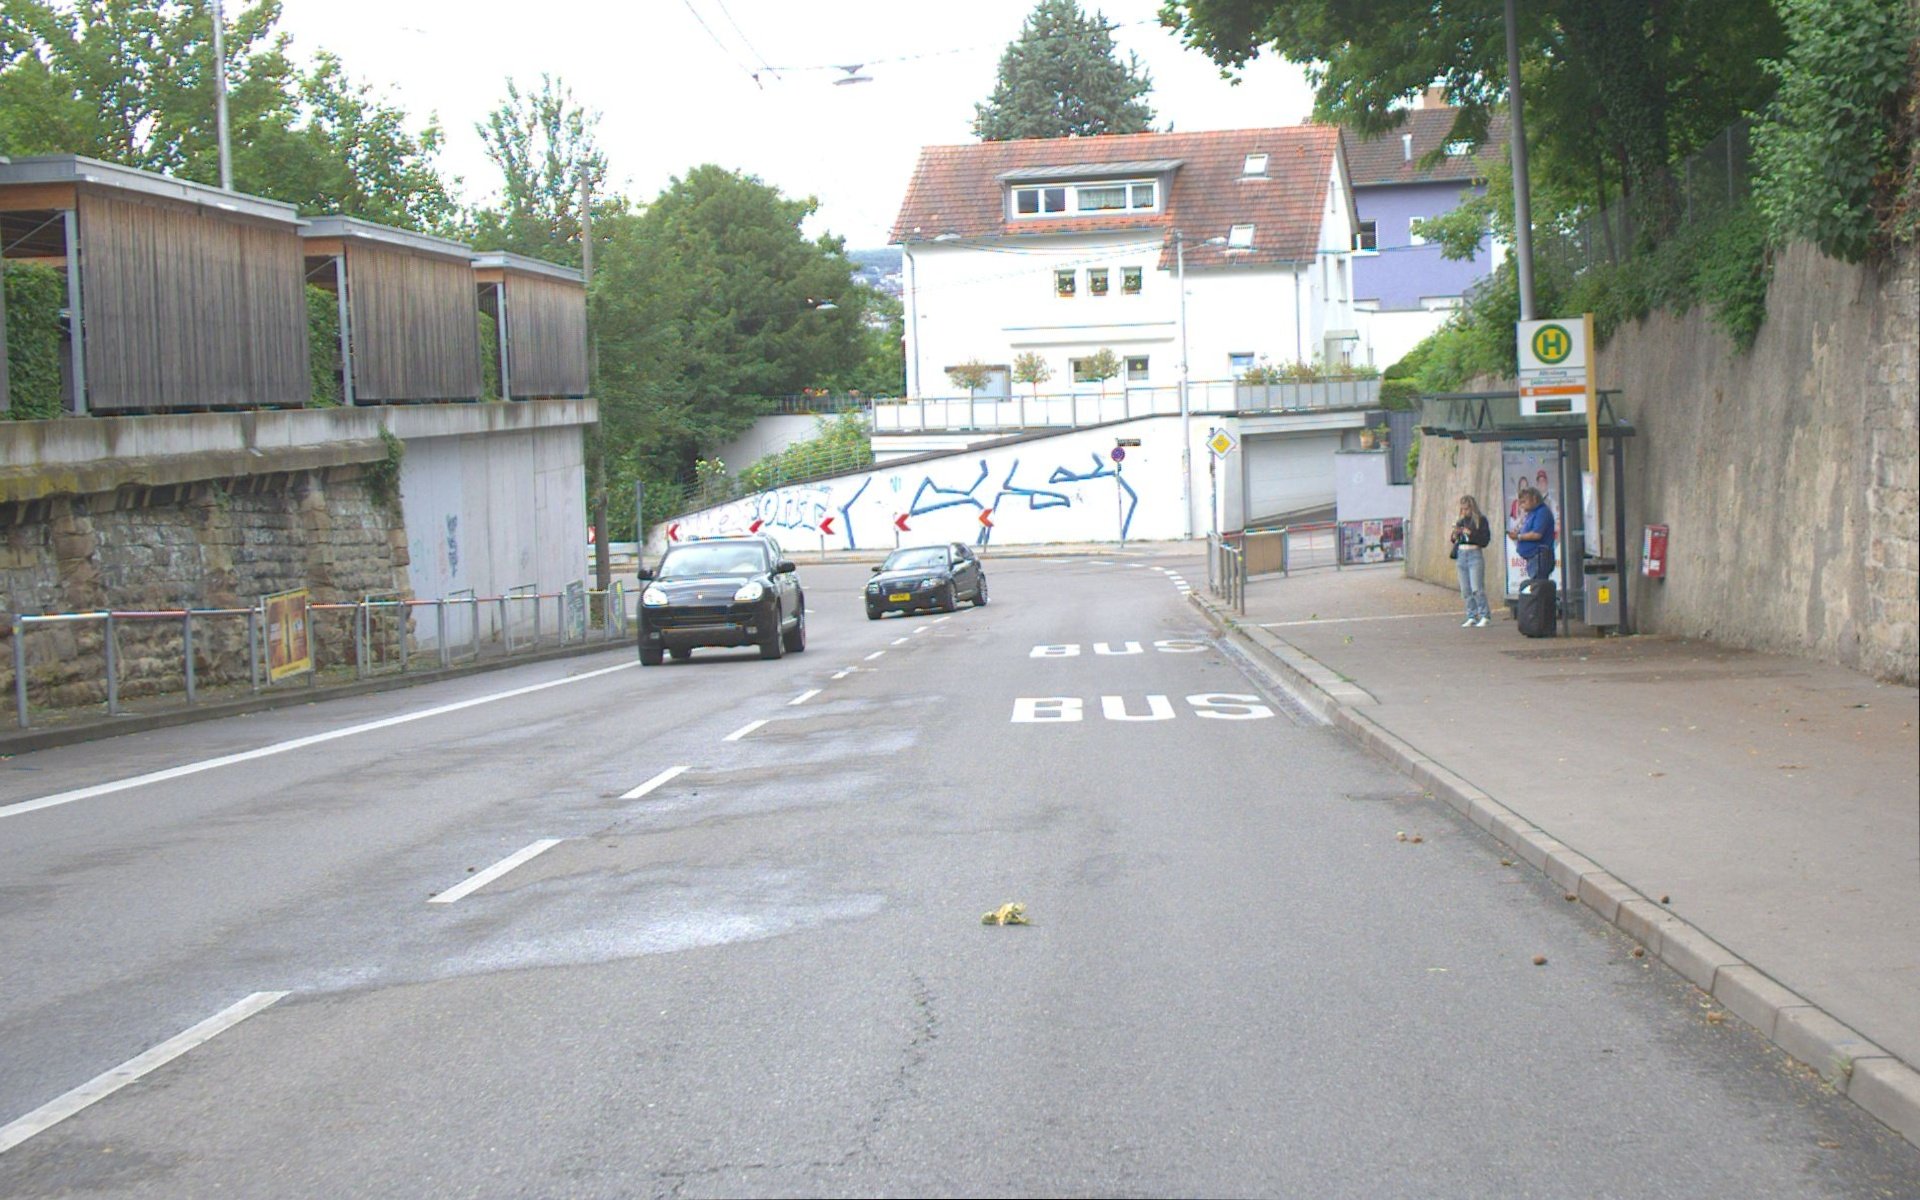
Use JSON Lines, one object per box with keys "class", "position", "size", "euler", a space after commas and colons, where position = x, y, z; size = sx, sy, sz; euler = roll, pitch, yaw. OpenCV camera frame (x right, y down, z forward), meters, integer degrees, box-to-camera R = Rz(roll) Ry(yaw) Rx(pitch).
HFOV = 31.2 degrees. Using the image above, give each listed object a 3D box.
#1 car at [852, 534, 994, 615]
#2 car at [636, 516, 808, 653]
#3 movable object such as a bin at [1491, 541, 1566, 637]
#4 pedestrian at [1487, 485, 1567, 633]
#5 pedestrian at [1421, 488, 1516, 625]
{"class": "car", "position": [-0.716, -0.538, 69.828], "size": [1.736, 1.527, 3.997], "euler": [-2, 1, 17]}
{"class": "car", "position": [-3.267, -0.245, 47.916], "size": [1.894, 1.750, 4.437], "euler": [-2, 1, 2]}
{"class": "movable object such as a bin", "position": [6.306, -0.128, 38.131], "size": [0.674, 1.016, 0.627], "euler": [-2, 2, -3]}
{"class": "pedestrian", "position": [6.393, -0.466, 38.790], "size": [0.721, 1.637, 0.631], "euler": [-2, 1, -2]}
{"class": "pedestrian", "position": [6.081, -0.518, 41.111], "size": [0.737, 1.582, 0.771], "euler": [-2, 3, 44]}
